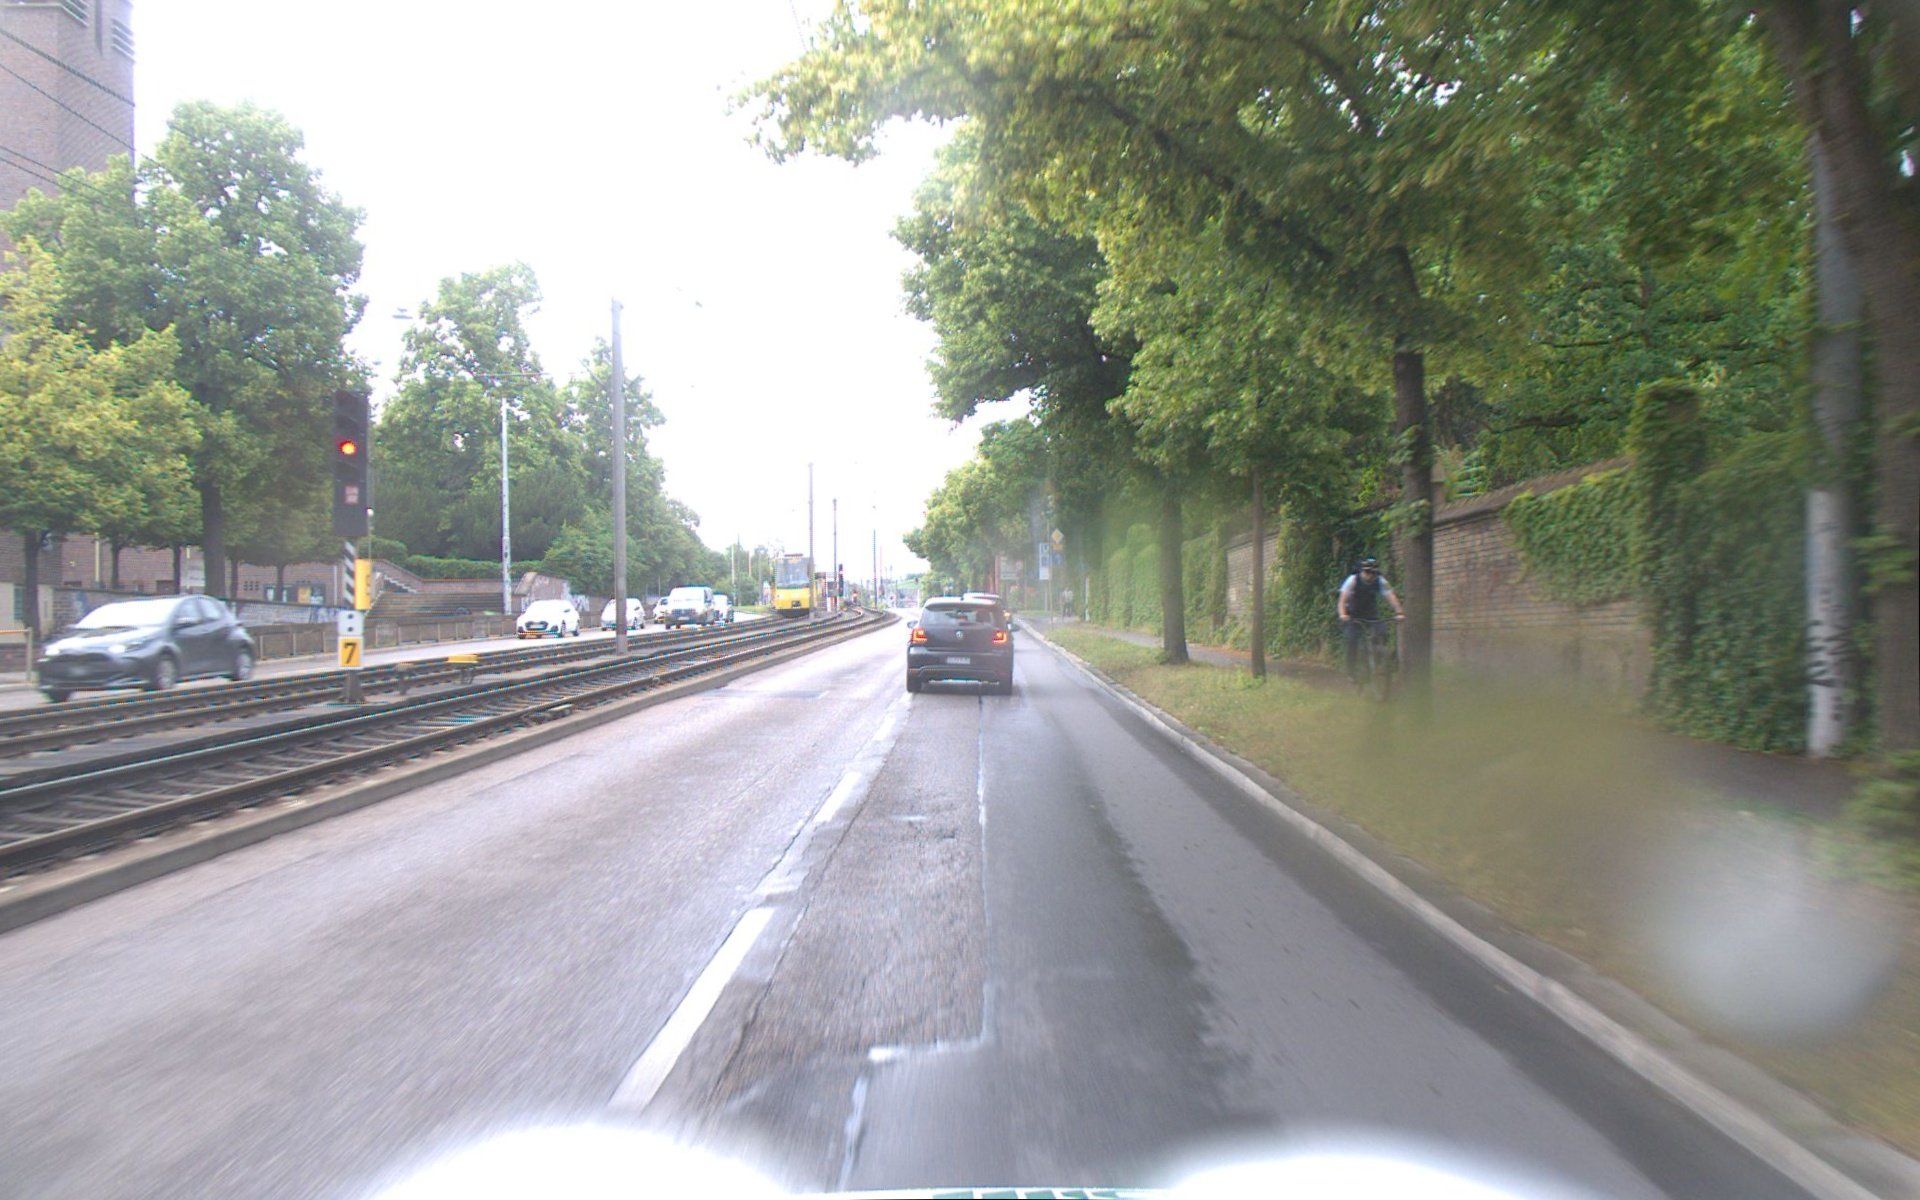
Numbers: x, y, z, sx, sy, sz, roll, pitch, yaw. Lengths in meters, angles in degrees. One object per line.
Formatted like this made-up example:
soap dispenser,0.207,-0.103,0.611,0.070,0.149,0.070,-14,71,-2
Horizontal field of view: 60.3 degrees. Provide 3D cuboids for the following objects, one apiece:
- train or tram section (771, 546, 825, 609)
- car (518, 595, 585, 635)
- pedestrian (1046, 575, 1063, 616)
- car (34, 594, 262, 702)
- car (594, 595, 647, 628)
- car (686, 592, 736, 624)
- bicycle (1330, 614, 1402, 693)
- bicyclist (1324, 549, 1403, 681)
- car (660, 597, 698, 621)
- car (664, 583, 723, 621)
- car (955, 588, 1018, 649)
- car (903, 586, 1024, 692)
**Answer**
train or tram section,-9.994,-1.393,102.782,2.775,3.668,9.266,1,1,-3
car,-15.829,0.548,64.263,1.583,1.459,4.000,1,1,0
pedestrian,6.986,-0.310,122.618,1.140,3.029,0.948,1,0,-1
car,-12.263,0.673,25.229,1.646,1.487,3.609,0,1,1
car,-16.154,0.534,78.842,1.693,1.468,4.000,1,1,0
car,-13.131,0.379,87.535,1.953,1.603,4.535,1,1,0
bicycle,5.171,0.658,21.162,0.399,0.918,2.099,-1,1,0
bicyclist,5.175,0.182,21.257,0.747,1.644,0.998,-1,0,0
car,-16.086,0.509,94.693,1.526,1.362,3.648,1,0,0
car,-12.388,0.052,77.211,1.953,1.691,5.126,1,1,0
car,0.711,0.472,45.258,1.641,1.557,3.722,0,1,1
car,0.021,0.557,26.438,1.757,1.511,3.964,1,1,-1
